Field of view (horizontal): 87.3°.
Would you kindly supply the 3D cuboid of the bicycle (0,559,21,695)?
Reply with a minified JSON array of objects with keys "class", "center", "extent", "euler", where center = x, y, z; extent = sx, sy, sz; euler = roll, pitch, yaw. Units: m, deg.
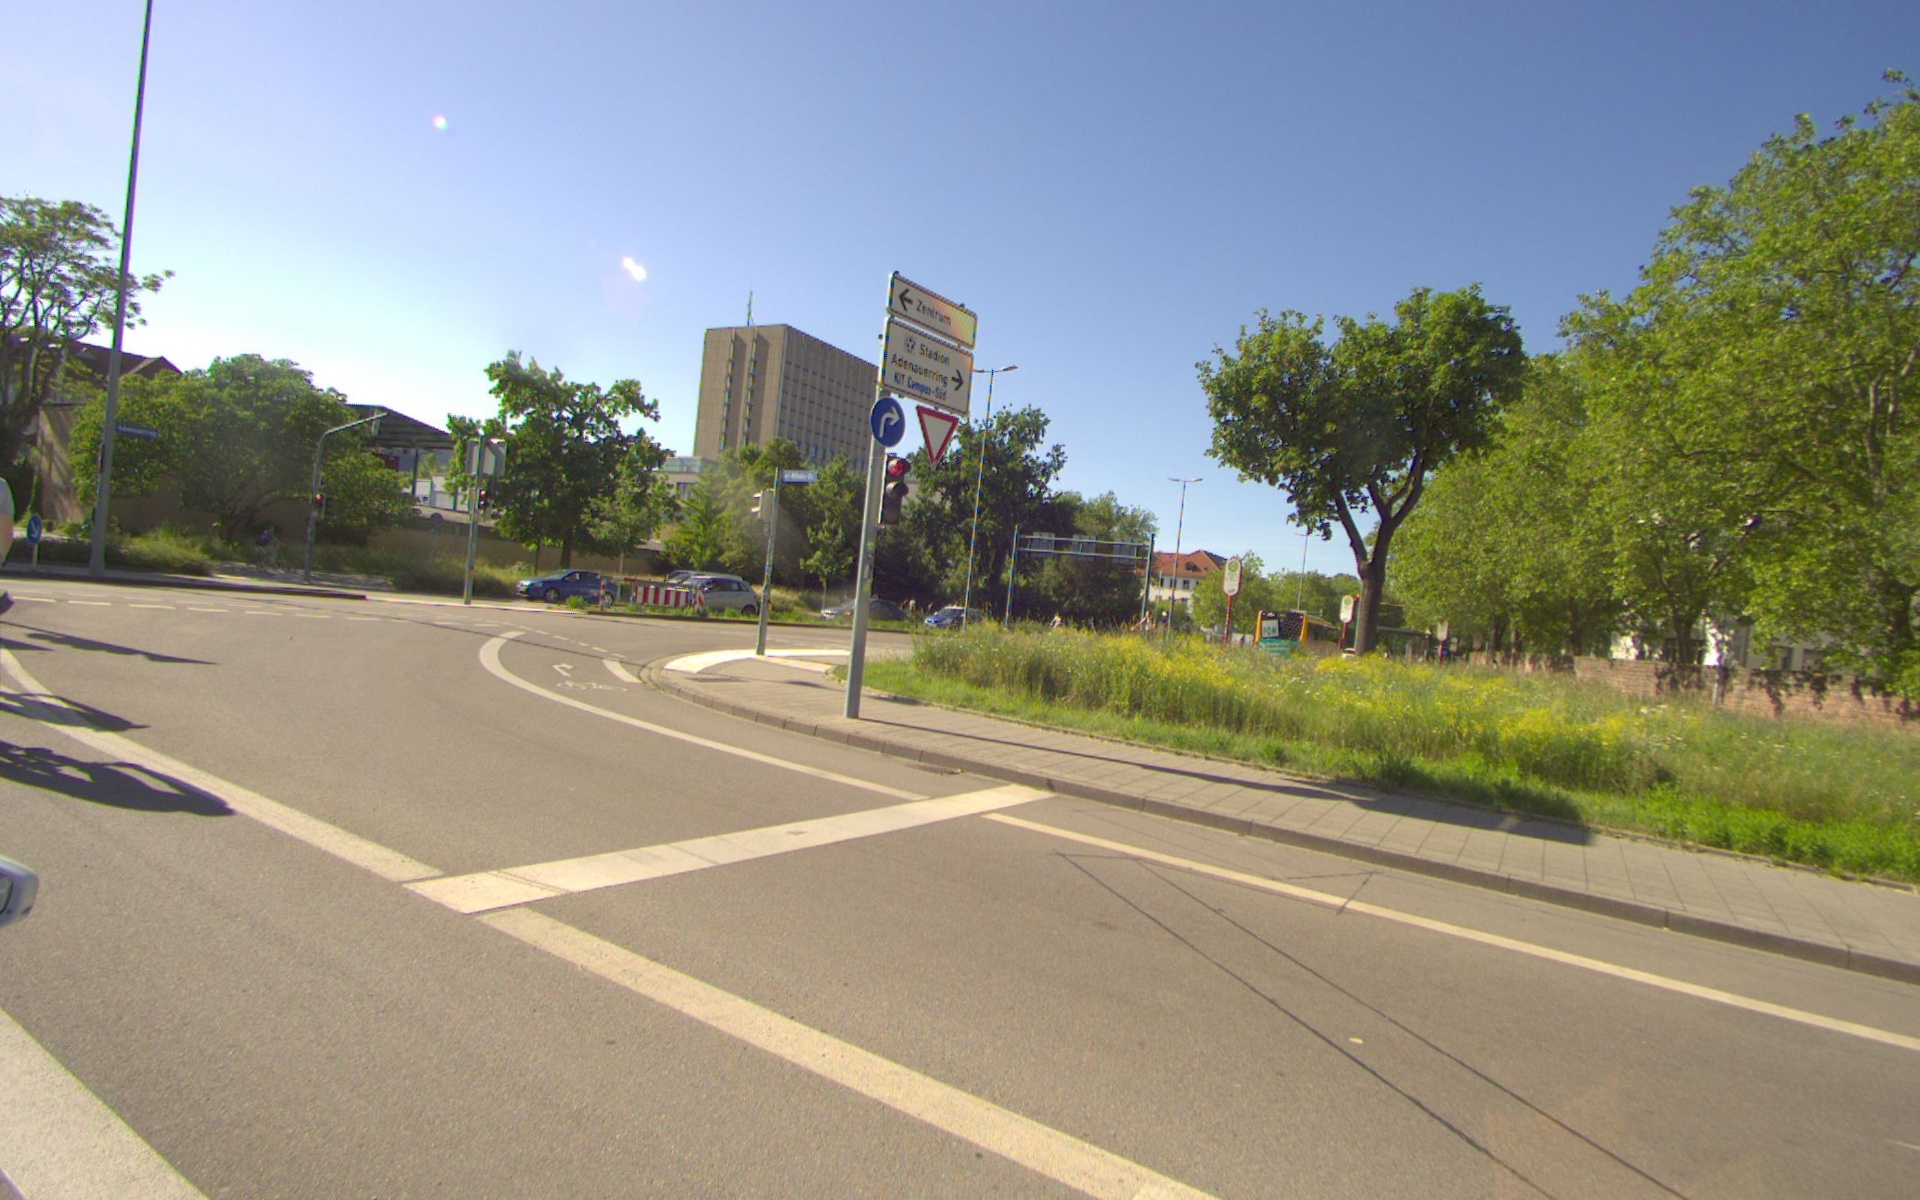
[{"class":"bicycle","center":[-8.196,0.090,7.771],"extent":[1.935,1.014,0.661],"euler":[6,-1,26]}]

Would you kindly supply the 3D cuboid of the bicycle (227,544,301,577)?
[{"class":"bicycle","center":[-25.688,-1.442,37.139],"extent":[0.685,0.942,2.079],"euler":[9,2,39]}]

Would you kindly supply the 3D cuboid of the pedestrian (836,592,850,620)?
[{"class":"pedestrian","center":[-7.727,0.379,66.289],"extent":[0.519,1.801,0.561],"euler":[7,1,34]}]

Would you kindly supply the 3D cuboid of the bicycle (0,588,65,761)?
[{"class":"bicycle","center":[-6.287,0.355,6.087],"extent":[1.946,0.906,0.741],"euler":[6,-2,33]}]

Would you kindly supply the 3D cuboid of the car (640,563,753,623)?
[{"class":"car","center":[-12.304,-0.273,47.327],"extent":[1.968,2.131,4.885],"euler":[6,-2,34]}]

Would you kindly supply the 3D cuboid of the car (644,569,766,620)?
[{"class":"car","center":[-9.426,-0.191,37.426],"extent":[1.840,1.426,4.046],"euler":[6,0,38]}]

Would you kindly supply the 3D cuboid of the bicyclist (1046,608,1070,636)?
[{"class":"bicyclist","center":[6.248,1.404,64.289],"extent":[0.778,1.649,1.315],"euler":[7,1,37]}]

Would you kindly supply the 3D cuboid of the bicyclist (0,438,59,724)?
[{"class":"bicyclist","center":[-6.218,-0.168,6.087],"extent":[1.000,1.688,0.752],"euler":[6,-1,33]}]

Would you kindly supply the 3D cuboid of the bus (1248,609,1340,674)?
[{"class":"bus","center":[18.482,2.401,55.167],"extent":[2.749,2.662,10.106],"euler":[6,-2,29]}]

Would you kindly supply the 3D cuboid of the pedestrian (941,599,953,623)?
[{"class":"pedestrian","center":[-1.018,0.855,76.706],"extent":[0.519,1.716,0.561],"euler":[7,1,35]}]

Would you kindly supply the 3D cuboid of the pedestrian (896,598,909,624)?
[{"class":"pedestrian","center":[-4.093,0.777,71.734],"extent":[0.519,1.801,0.561],"euler":[7,1,35]}]

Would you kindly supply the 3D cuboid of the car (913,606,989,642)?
[{"class":"car","center":[-0.392,1.238,50.370],"extent":[1.758,1.448,3.989],"euler":[6,0,34]}]

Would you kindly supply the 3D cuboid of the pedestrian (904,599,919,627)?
[{"class":"pedestrian","center":[-3.395,0.899,70.232],"extent":[0.702,1.872,0.561],"euler":[7,1,35]}]

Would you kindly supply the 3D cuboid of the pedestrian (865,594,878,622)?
[{"class":"pedestrian","center":[-6.103,0.556,69.352],"extent":[0.519,1.800,0.561],"euler":[7,1,35]}]

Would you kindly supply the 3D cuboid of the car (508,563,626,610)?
[{"class":"car","center":[-16.085,-0.514,41.336],"extent":[1.717,1.453,4.162],"euler":[7,0,38]}]

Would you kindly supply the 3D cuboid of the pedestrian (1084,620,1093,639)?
[{"class":"pedestrian","center":[12.236,2.806,95.691],"extent":[0.519,1.801,0.561],"euler":[7,1,35]}]

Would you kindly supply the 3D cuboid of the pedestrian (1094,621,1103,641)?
[{"class":"pedestrian","center":[13.344,3.003,96.940],"extent":[0.519,1.801,0.561],"euler":[7,1,35]}]

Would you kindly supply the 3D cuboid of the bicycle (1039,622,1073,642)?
[{"class":"bicycle","center":[6.145,2.045,64.278],"extent":[0.778,1.032,2.630],"euler":[7,0,36]}]

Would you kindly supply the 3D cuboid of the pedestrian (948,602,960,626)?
[{"class":"pedestrian","center":[-0.427,1.061,76.396],"extent":[0.519,1.801,0.561],"euler":[7,1,35]}]

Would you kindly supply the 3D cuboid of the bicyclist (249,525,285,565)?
[{"class":"bicyclist","center":[-25.593,-2.035,37.160],"extent":[0.685,1.333,0.825],"euler":[9,3,38]}]

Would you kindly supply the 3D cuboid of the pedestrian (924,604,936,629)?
[{"class":"pedestrian","center":[-2.235,1.247,74.485],"extent":[0.519,1.801,0.561],"euler":[7,1,35]}]

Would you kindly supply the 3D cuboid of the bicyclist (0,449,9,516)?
[{"class":"bicyclist","center":[-8.130,-0.371,7.776],"extent":[1.048,1.759,0.647],"euler":[7,-1,26]}]

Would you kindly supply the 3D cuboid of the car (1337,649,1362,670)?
[{"class":"car","center":[33.456,5.084,86.402],"extent":[1.669,1.525,3.772],"euler":[6,0,23]}]

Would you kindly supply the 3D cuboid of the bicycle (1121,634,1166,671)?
[{"class":"bicycle","center":[5.541,1.583,30.310],"extent":[0.509,1.007,2.056],"euler":[7,0,32]}]

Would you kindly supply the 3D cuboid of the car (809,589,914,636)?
[{"class":"car","center":[-4.302,0.580,44.706],"extent":[1.968,1.604,4.735],"euler":[6,0,34]}]

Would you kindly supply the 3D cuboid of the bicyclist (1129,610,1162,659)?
[{"class":"bicyclist","center":[5.578,1.048,30.267],"extent":[0.509,1.368,1.002],"euler":[7,1,32]}]
